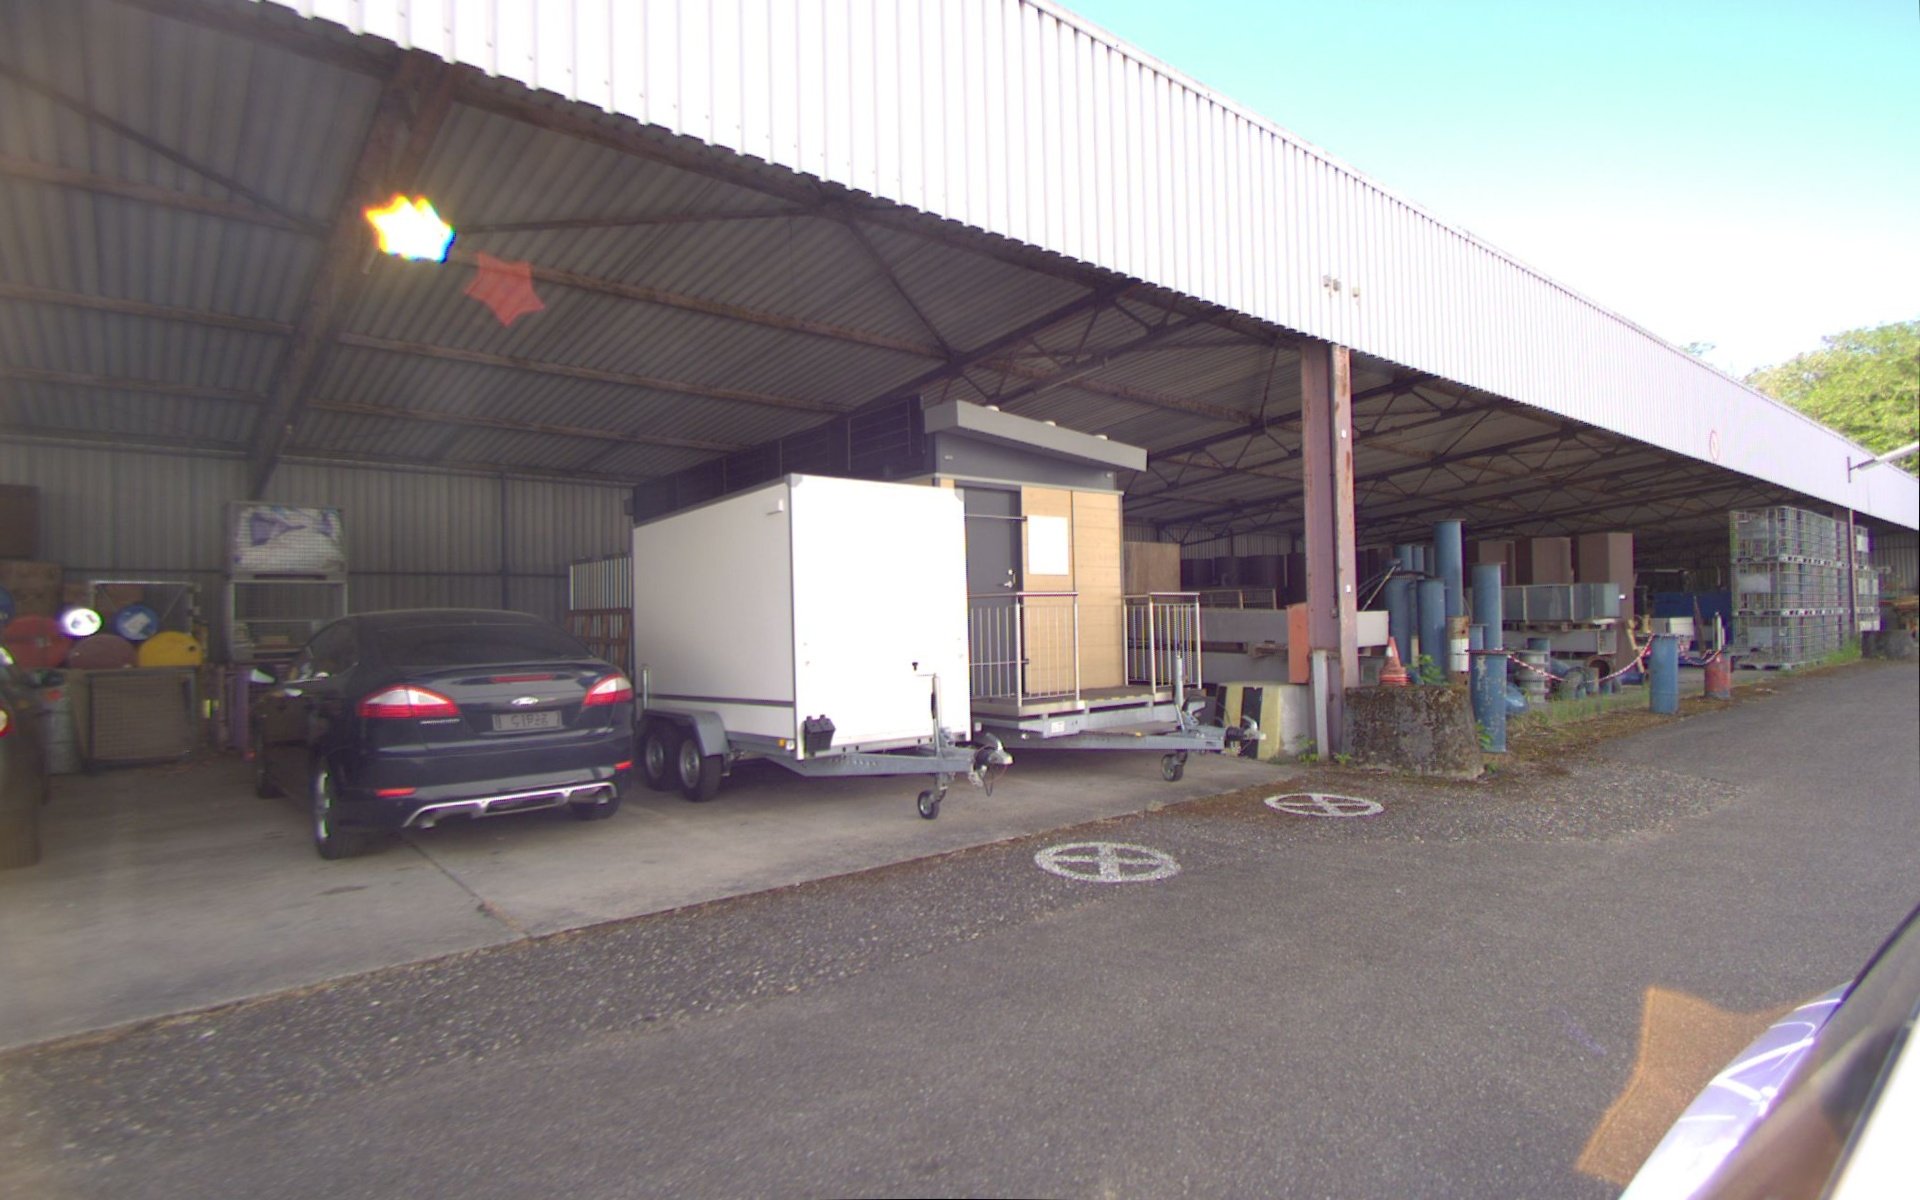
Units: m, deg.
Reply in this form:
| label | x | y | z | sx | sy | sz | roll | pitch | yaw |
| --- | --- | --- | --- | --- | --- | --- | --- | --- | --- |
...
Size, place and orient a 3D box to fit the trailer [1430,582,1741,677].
| label | x | y | z | sx | sy | sz | roll | pitch | yaw |
| --- | --- | --- | --- | --- | --- | --- | --- | --- | --- |
| trailer | 12.221 | 0.546 | 20.074 | 1.994 | 1.649 | 4.875 | 0 | -1 | -40 |

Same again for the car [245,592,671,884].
| label | x | y | z | sx | sy | sz | roll | pitch | yaw |
| --- | --- | --- | --- | --- | --- | --- | --- | --- | --- |
| car | -3.927 | 0.746 | 7.472 | 1.747 | 1.515 | 4.334 | 0 | -1 | -42 |

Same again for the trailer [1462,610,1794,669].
| label | x | y | z | sx | sy | sz | roll | pitch | yaw |
| --- | --- | --- | --- | --- | --- | --- | --- | --- | --- |
| trailer | 14.546 | 0.808 | 22.420 | 1.993 | 1.134 | 5.831 | 0 | -1 | -40 |

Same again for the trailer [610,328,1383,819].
| label | x | y | z | sx | sy | sz | roll | pitch | yaw |
| --- | --- | --- | --- | --- | --- | --- | --- | --- | --- |
| trailer | -0.738 | -0.114 | 11.493 | 2.803 | 3.257 | 10.056 | 0 | -1 | -40 |

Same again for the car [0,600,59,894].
| label | x | y | z | sx | sy | sz | roll | pitch | yaw |
| --- | --- | --- | --- | --- | --- | --- | --- | --- | --- |
| car | -6.709 | 0.785 | 6.185 | 1.757 | 1.491 | 3.992 | 0 | -1 | -41 |

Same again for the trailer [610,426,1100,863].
| label | x | y | z | sx | sy | sz | roll | pitch | yaw |
| --- | --- | --- | --- | --- | --- | --- | --- | --- | --- |
| trailer | -1.201 | 0.272 | 8.116 | 1.792 | 2.422 | 4.827 | 0 | -1 | -35 |
